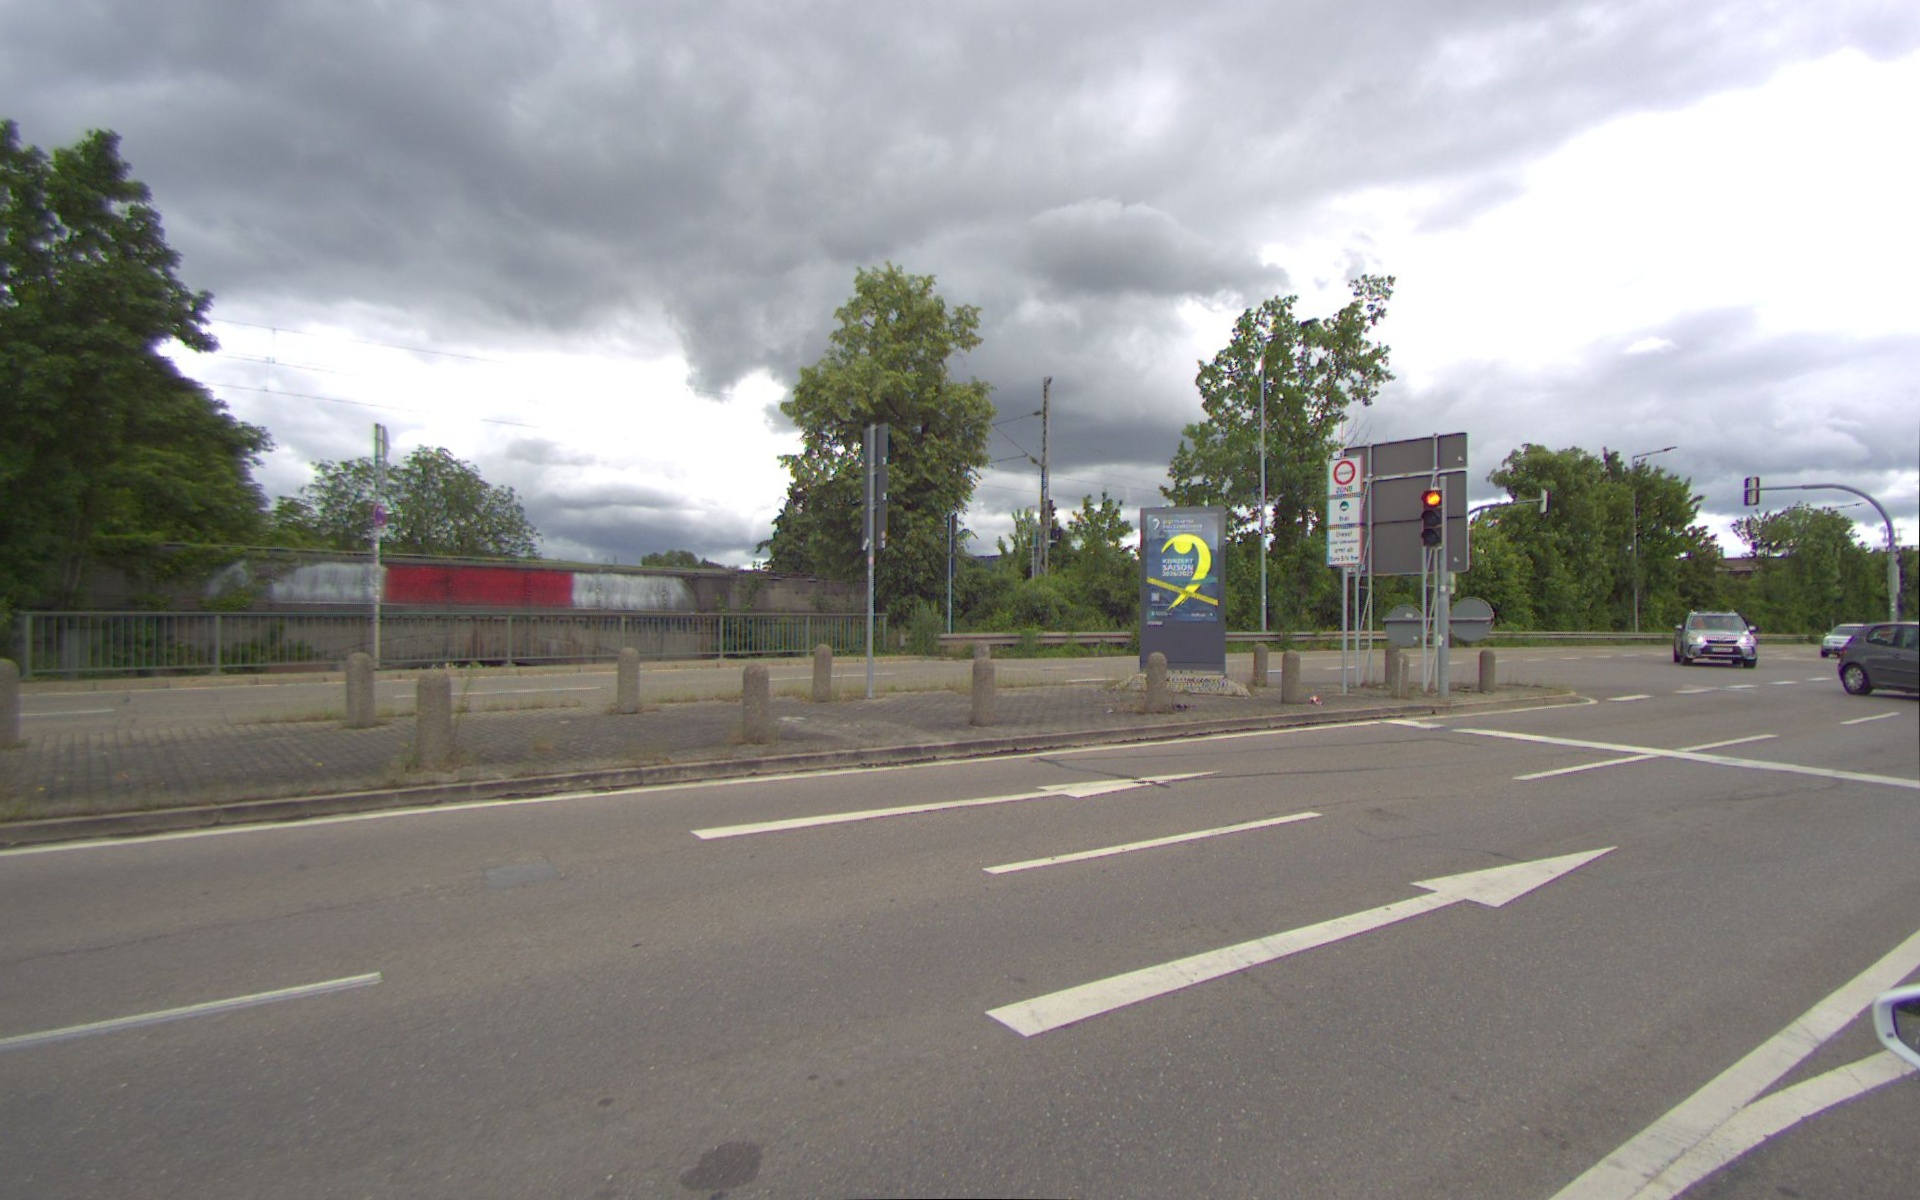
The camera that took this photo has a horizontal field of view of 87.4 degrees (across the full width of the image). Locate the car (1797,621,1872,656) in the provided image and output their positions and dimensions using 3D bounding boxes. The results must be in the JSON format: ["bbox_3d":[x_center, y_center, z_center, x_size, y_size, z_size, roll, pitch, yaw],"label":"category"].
[{"bbox_3d":[37.344,1.627,42.878,4.030,1.419,1.711,1,-1,-38],"label":"car"}]

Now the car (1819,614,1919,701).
[{"bbox_3d":[18.173,1.088,18.321,1.695,1.481,4.246,1,1,7],"label":"car"}]

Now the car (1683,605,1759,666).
[{"bbox_3d":[23.827,1.077,31.571,1.701,1.760,4.541,-1,-1,35],"label":"car"}]
